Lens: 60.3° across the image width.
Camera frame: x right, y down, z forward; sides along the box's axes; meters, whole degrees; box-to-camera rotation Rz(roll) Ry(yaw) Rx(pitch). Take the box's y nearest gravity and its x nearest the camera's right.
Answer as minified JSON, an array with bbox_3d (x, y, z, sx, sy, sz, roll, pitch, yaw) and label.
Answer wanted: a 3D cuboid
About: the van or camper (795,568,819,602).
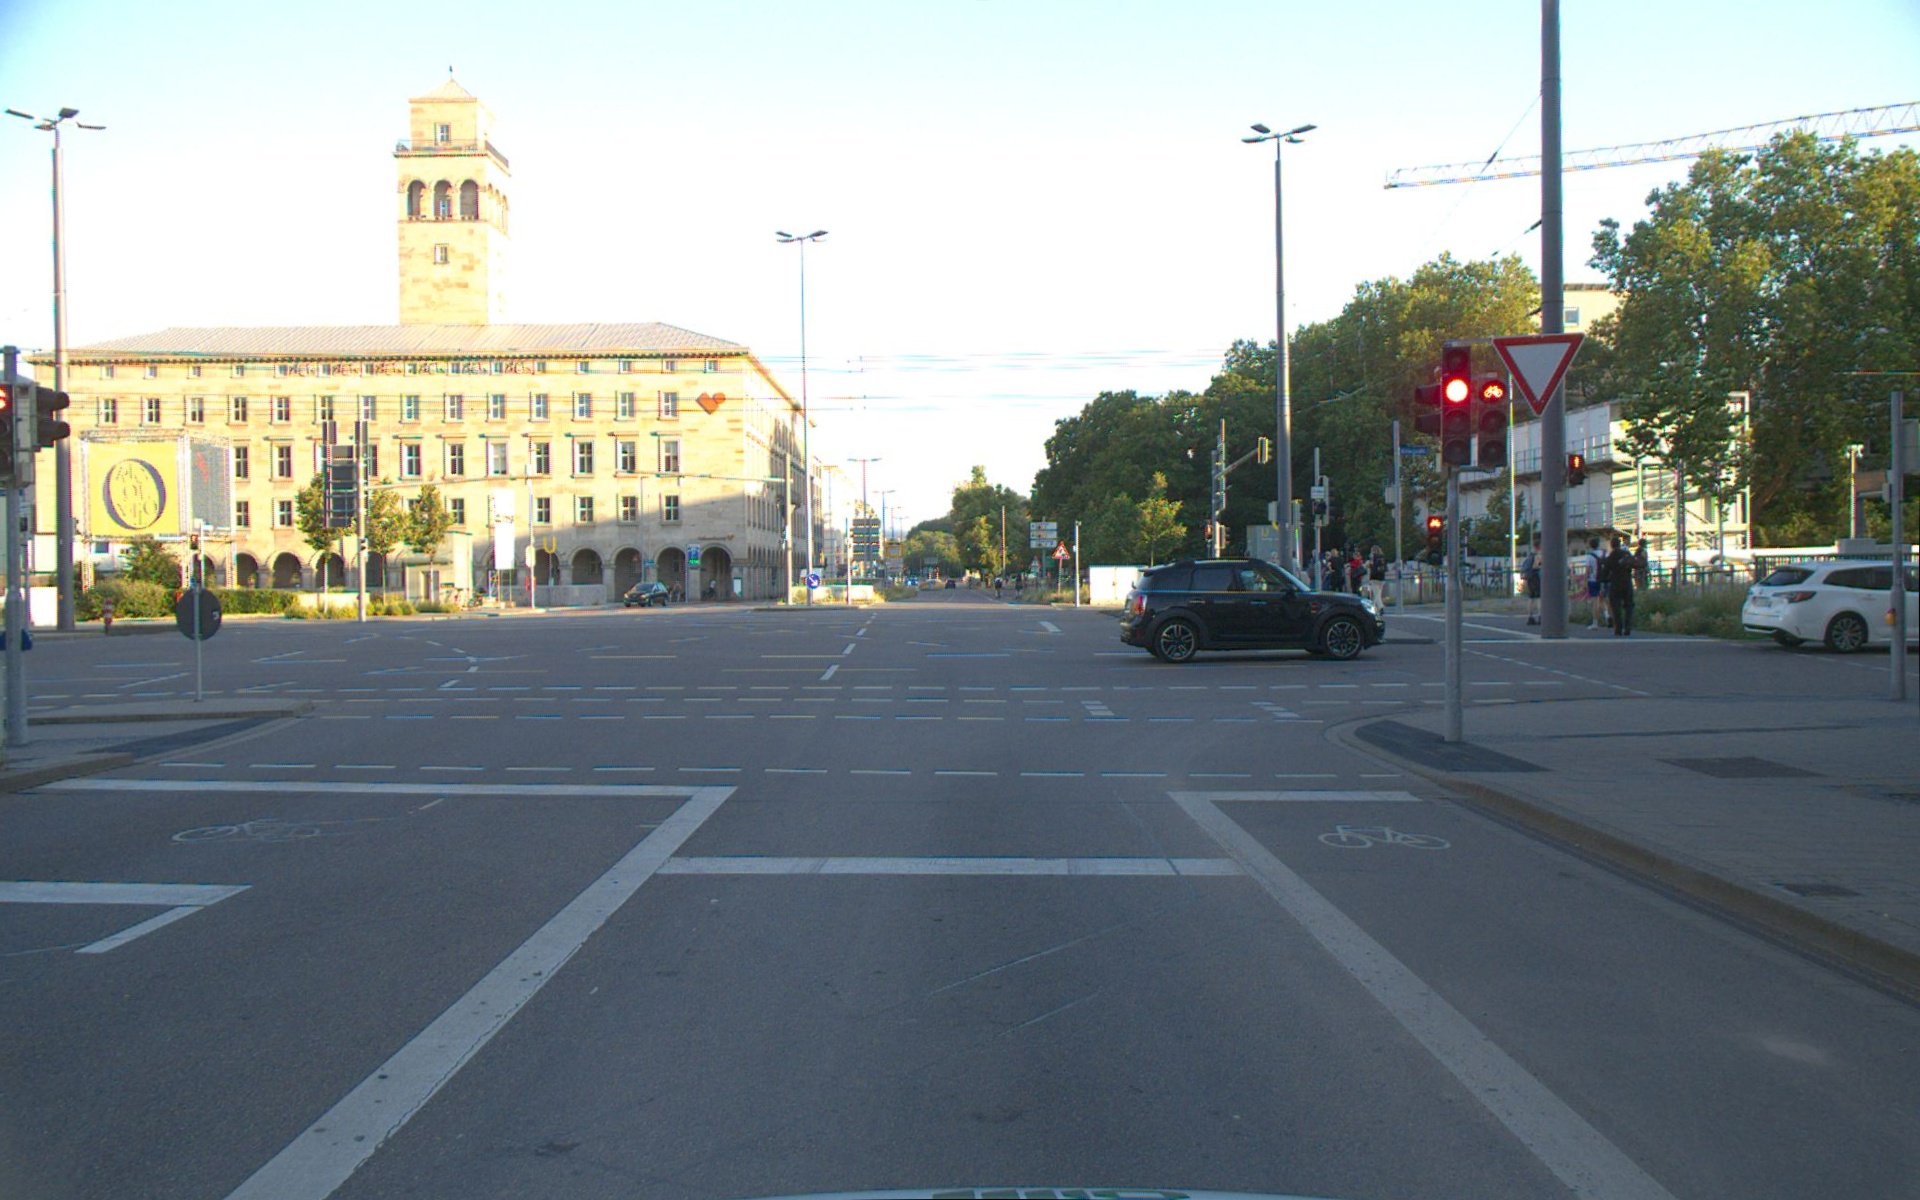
[{"bbox_3d":[-12.950,-1.316,140.112,1.846,2.808,4.929,-1,1,-3],"label":"van or camper"}]

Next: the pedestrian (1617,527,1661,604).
[{"bbox_3d":[15.911,-0.812,38.783,0.672,1.760,0.838,-1,1,-1],"label":"pedestrian"}]

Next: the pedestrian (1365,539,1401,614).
[{"bbox_3d":[10.127,-0.559,39.592,0.677,1.760,0.741,-1,1,1],"label":"pedestrian"}]

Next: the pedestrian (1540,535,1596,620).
[{"bbox_3d":[12.743,-0.474,34.677,0.882,1.760,0.682,-1,1,-27],"label":"pedestrian"}]

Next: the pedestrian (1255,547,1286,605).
[{"bbox_3d":[9.609,-0.748,51.158,0.792,1.760,0.688,-1,1,-2],"label":"pedestrian"}]

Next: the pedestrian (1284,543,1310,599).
[{"bbox_3d":[10.607,-0.914,52.076,0.791,1.760,0.688,-1,1,12],"label":"pedestrian"}]

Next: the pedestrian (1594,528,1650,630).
[{"bbox_3d":[12.279,-0.385,30.677,0.876,1.862,0.687,0,1,29],"label":"pedestrian"}]

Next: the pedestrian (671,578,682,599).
[{"bbox_3d":[-21.593,-0.880,125.968,0.620,1.595,0.775,-1,1,1],"label":"pedestrian"}]

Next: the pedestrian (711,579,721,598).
[{"bbox_3d":[-20.397,-0.966,138.336,0.756,1.595,0.636,-1,1,1],"label":"pedestrian"}]

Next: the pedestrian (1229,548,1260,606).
[{"bbox_3d":[8.802,-0.711,51.136,0.792,1.760,0.688,-1,1,-2],"label":"pedestrian"}]

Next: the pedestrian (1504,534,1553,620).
[{"bbox_3d":[11.783,-0.483,34.325,0.672,1.760,0.895,-1,1,-2],"label":"pedestrian"}]

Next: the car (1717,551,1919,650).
[{"bbox_3d":[15.263,-0.038,27.170,4.699,1.522,2.128,-1,1,-1],"label":"car"}]

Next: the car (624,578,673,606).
[{"bbox_3d":[-19.930,-0.534,105.870,1.951,1.691,4.003,-1,1,6],"label":"car"}]

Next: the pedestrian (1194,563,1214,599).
[{"bbox_3d":[12.050,-0.938,81.725,0.792,1.760,0.928,-1,1,-2],"label":"pedestrian"}]

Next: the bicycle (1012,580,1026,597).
[{"bbox_3d":[3.504,-0.706,98.248,0.638,0.987,1.483,-1,1,-4],"label":"bicycle"}]

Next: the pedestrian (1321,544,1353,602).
[{"bbox_3d":[11.699,-0.835,51.343,0.792,1.760,0.688,-1,1,-2],"label":"pedestrian"}]

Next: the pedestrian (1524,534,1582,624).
[{"bbox_3d":[11.859,-0.425,33.095,0.875,1.760,0.688,-1,1,-2],"label":"pedestrian"}]

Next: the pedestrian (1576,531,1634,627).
[{"bbox_3d":[12.783,-0.414,32.787,0.874,1.872,0.688,-1,1,-1],"label":"pedestrian"}]

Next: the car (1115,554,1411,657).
[{"bbox_3d":[4.822,0.068,26.807,4.370,1.522,2.128,-1,1,-1],"label":"car"}]

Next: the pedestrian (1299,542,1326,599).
[{"bbox_3d":[10.954,-0.921,51.393,0.791,1.760,0.688,-1,1,12],"label":"pedestrian"}]

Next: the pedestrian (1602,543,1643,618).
[{"bbox_3d":[15.817,-0.462,39.508,0.671,1.760,0.839,-1,1,3],"label":"pedestrian"}]

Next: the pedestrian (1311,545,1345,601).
[{"bbox_3d":[11.737,-0.869,52.782,0.679,1.760,0.801,-1,1,-33],"label":"pedestrian"}]

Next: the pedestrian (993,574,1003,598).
[{"bbox_3d":[2.266,-0.843,98.461,0.512,1.398,0.687,-1,1,-4],"label":"pedestrian"}]

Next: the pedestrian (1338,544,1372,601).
[{"bbox_3d":[12.395,-0.856,51.913,0.677,1.760,0.804,-1,1,-27],"label":"pedestrian"}]

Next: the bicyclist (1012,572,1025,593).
[{"bbox_3d":[3.481,-1.022,98.223,0.638,1.244,0.860,-1,1,-4],"label":"bicyclist"}]
